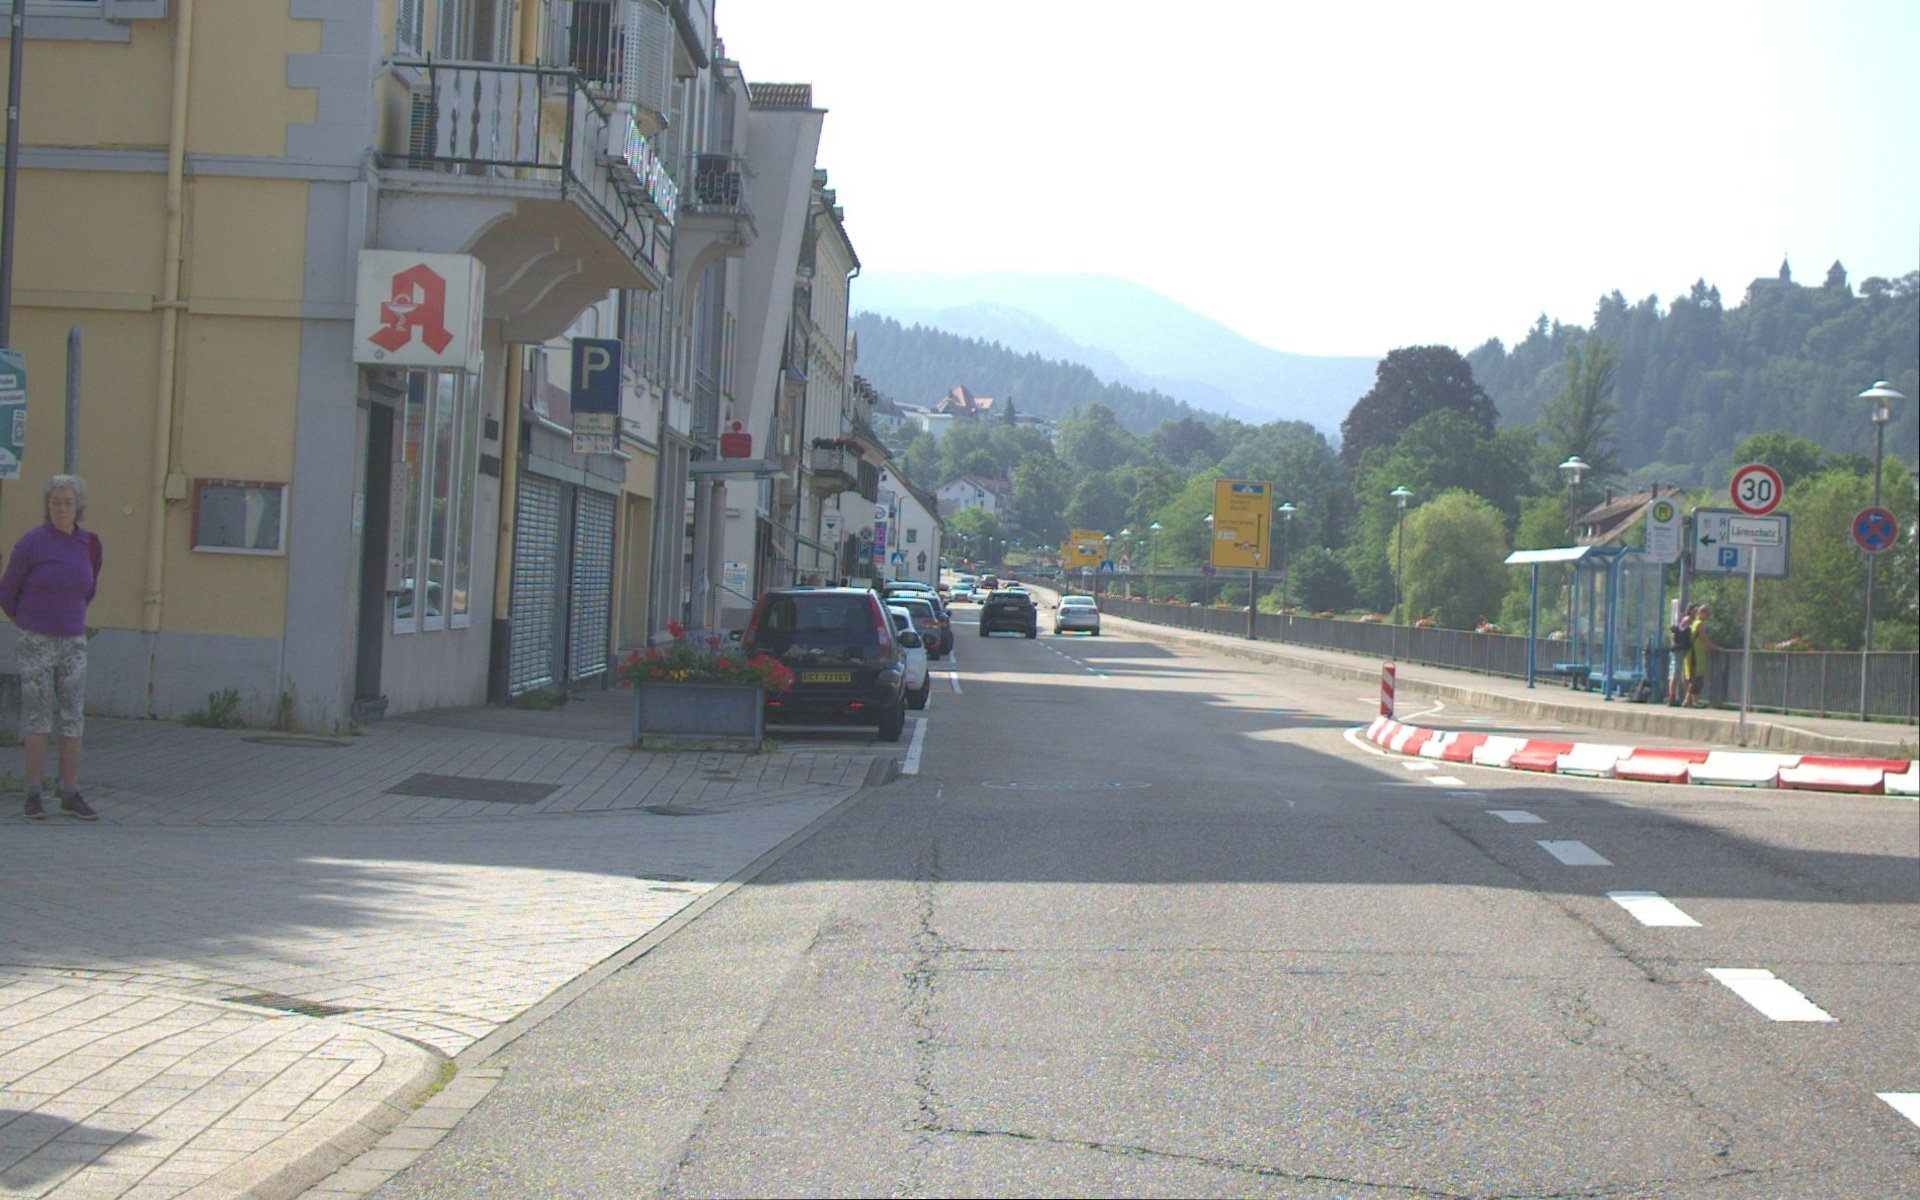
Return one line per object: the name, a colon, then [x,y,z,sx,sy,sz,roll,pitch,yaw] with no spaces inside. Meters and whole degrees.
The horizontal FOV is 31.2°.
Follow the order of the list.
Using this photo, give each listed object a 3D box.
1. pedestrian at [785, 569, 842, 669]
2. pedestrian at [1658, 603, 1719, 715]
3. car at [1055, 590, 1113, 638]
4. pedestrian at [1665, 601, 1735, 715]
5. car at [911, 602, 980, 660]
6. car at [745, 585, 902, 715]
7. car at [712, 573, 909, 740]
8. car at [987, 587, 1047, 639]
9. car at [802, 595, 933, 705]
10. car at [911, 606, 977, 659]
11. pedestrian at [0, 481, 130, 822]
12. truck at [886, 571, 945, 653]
pedestrian: [-2.526,0.327,59.304,0.690,1.691,0.658,2,0,28]
pedestrian: [11.349,0.919,53.598,0.789,1.700,0.491,2,0,2]
car: [4.658,0.517,129.490,1.993,1.656,4.000,3,0,1]
pedestrian: [11.390,0.883,52.947,0.867,1.700,0.777,2,0,2]
car: [-0.401,0.805,90.590,1.747,1.443,3.276,2,0,-1]
car: [-1.590,0.567,41.041,1.747,1.443,3.276,2,0,-1]
car: [-1.468,0.538,34.874,1.846,1.563,3.568,2,0,-1]
car: [1.965,0.426,119.682,1.993,1.656,4.000,3,0,1]
car: [-1.294,0.683,48.959,1.747,1.443,3.795,2,0,-1]
car: [-0.416,0.794,84.680,1.563,1.216,3.276,2,0,-1]
pedestrian: [-4.683,0.256,17.667,0.678,1.709,0.617,2,1,-20]
truck: [-1.385,0.359,107.283,1.747,2.459,4.661,2,0,-1]
